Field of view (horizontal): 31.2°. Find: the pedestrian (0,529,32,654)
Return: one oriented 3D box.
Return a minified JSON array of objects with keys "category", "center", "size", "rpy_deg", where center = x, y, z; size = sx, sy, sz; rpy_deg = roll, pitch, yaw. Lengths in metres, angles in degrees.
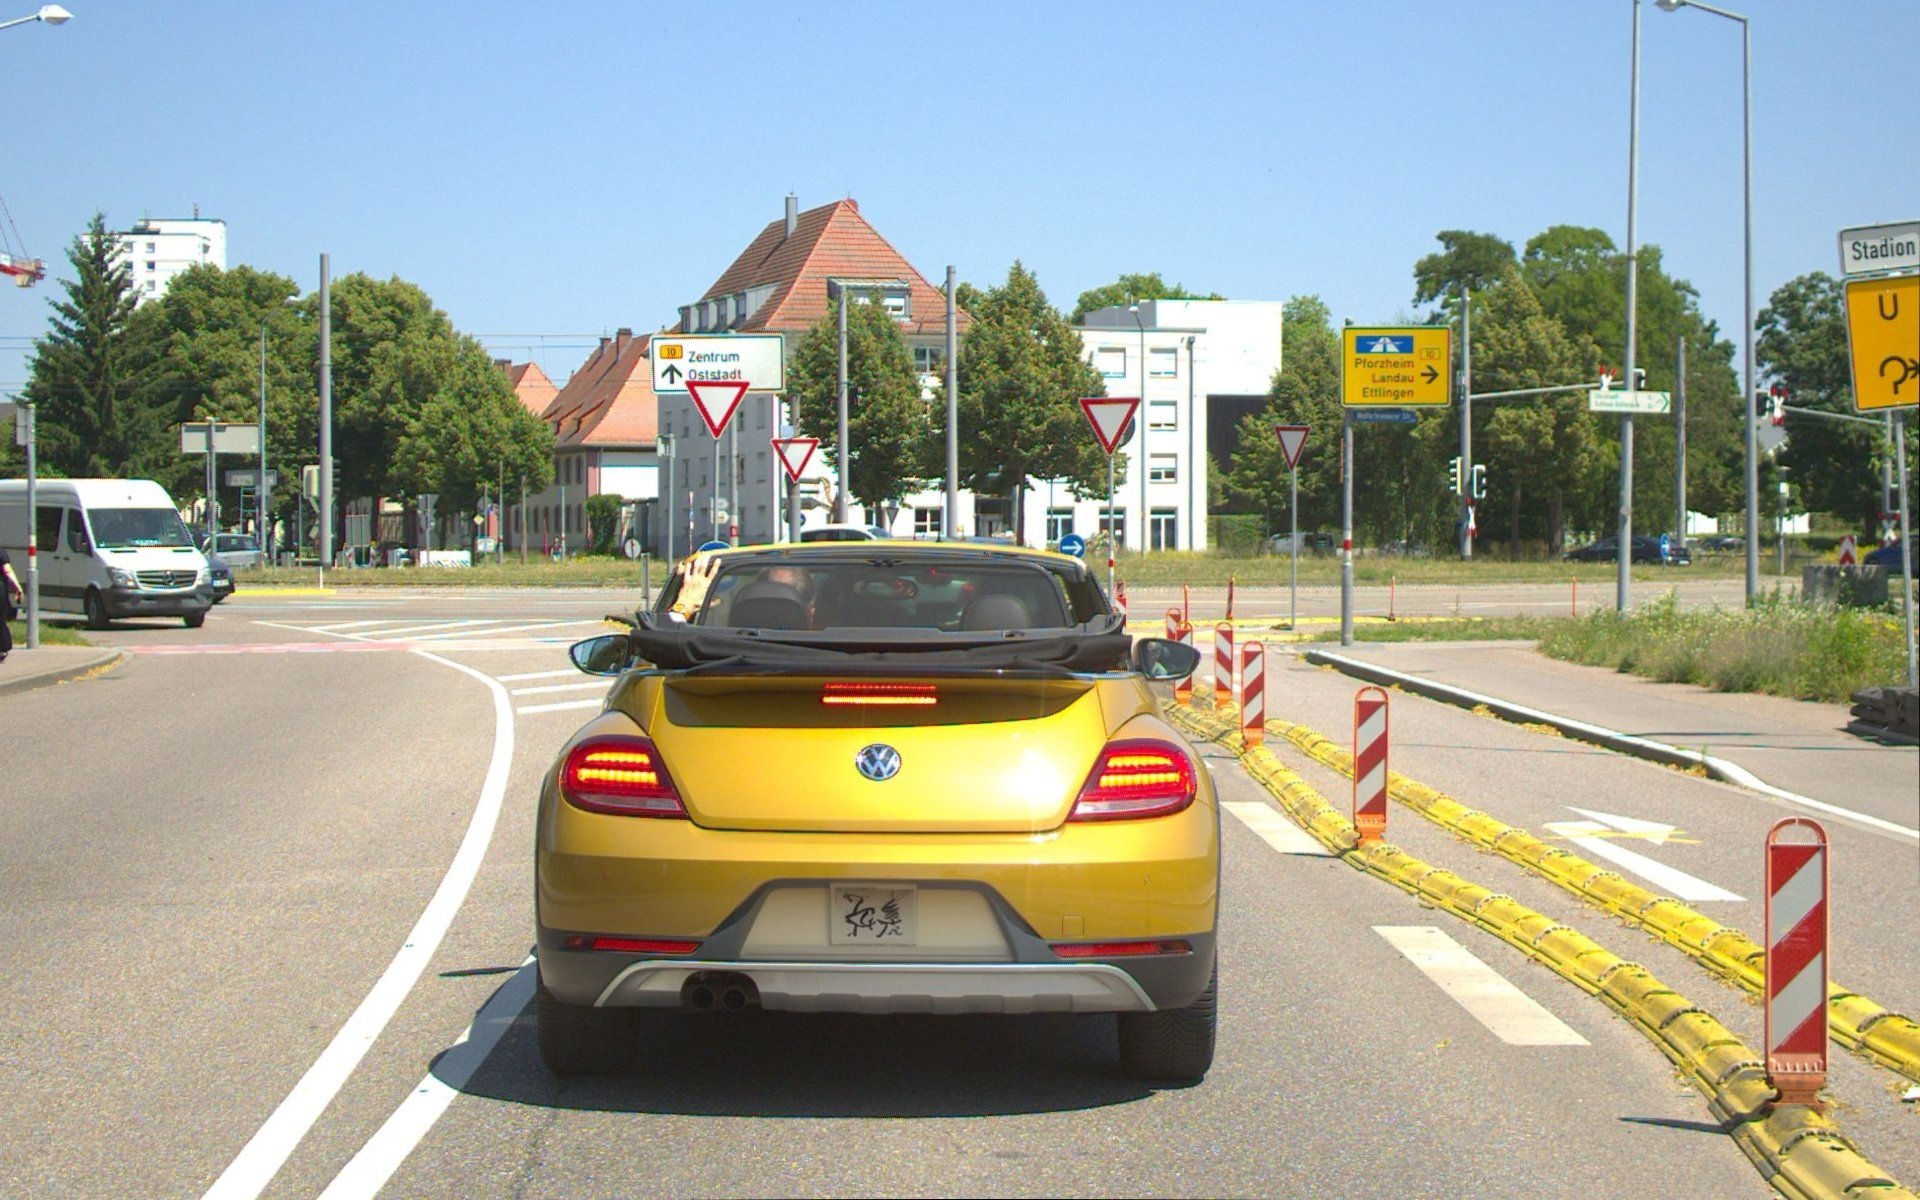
[{"category":"pedestrian","center":[-11.317,-0.100,40.273],"size":[0.722,1.449,0.818],"rpy_deg":[0,1,-5]}]

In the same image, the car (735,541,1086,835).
[{"category":"car","center":[-0.265,0.400,18.982],"size":[1.726,1.438,4.000],"rpy_deg":[0,1,-1]}]

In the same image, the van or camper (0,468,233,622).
[{"category":"van or camper","center":[-15.146,-0.983,60.482],"size":[2.072,2.568,6.680],"rpy_deg":[-1,1,-36]}]

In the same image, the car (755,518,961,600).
[{"category":"car","center":[-1.951,-0.795,66.439],"size":[3.698,1.565,1.681],"rpy_deg":[0,1,10]}]

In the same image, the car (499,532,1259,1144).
[{"category":"car","center":[-0.266,0.523,10.025],"size":[1.790,1.432,3.814],"rpy_deg":[0,1,-2]}]
